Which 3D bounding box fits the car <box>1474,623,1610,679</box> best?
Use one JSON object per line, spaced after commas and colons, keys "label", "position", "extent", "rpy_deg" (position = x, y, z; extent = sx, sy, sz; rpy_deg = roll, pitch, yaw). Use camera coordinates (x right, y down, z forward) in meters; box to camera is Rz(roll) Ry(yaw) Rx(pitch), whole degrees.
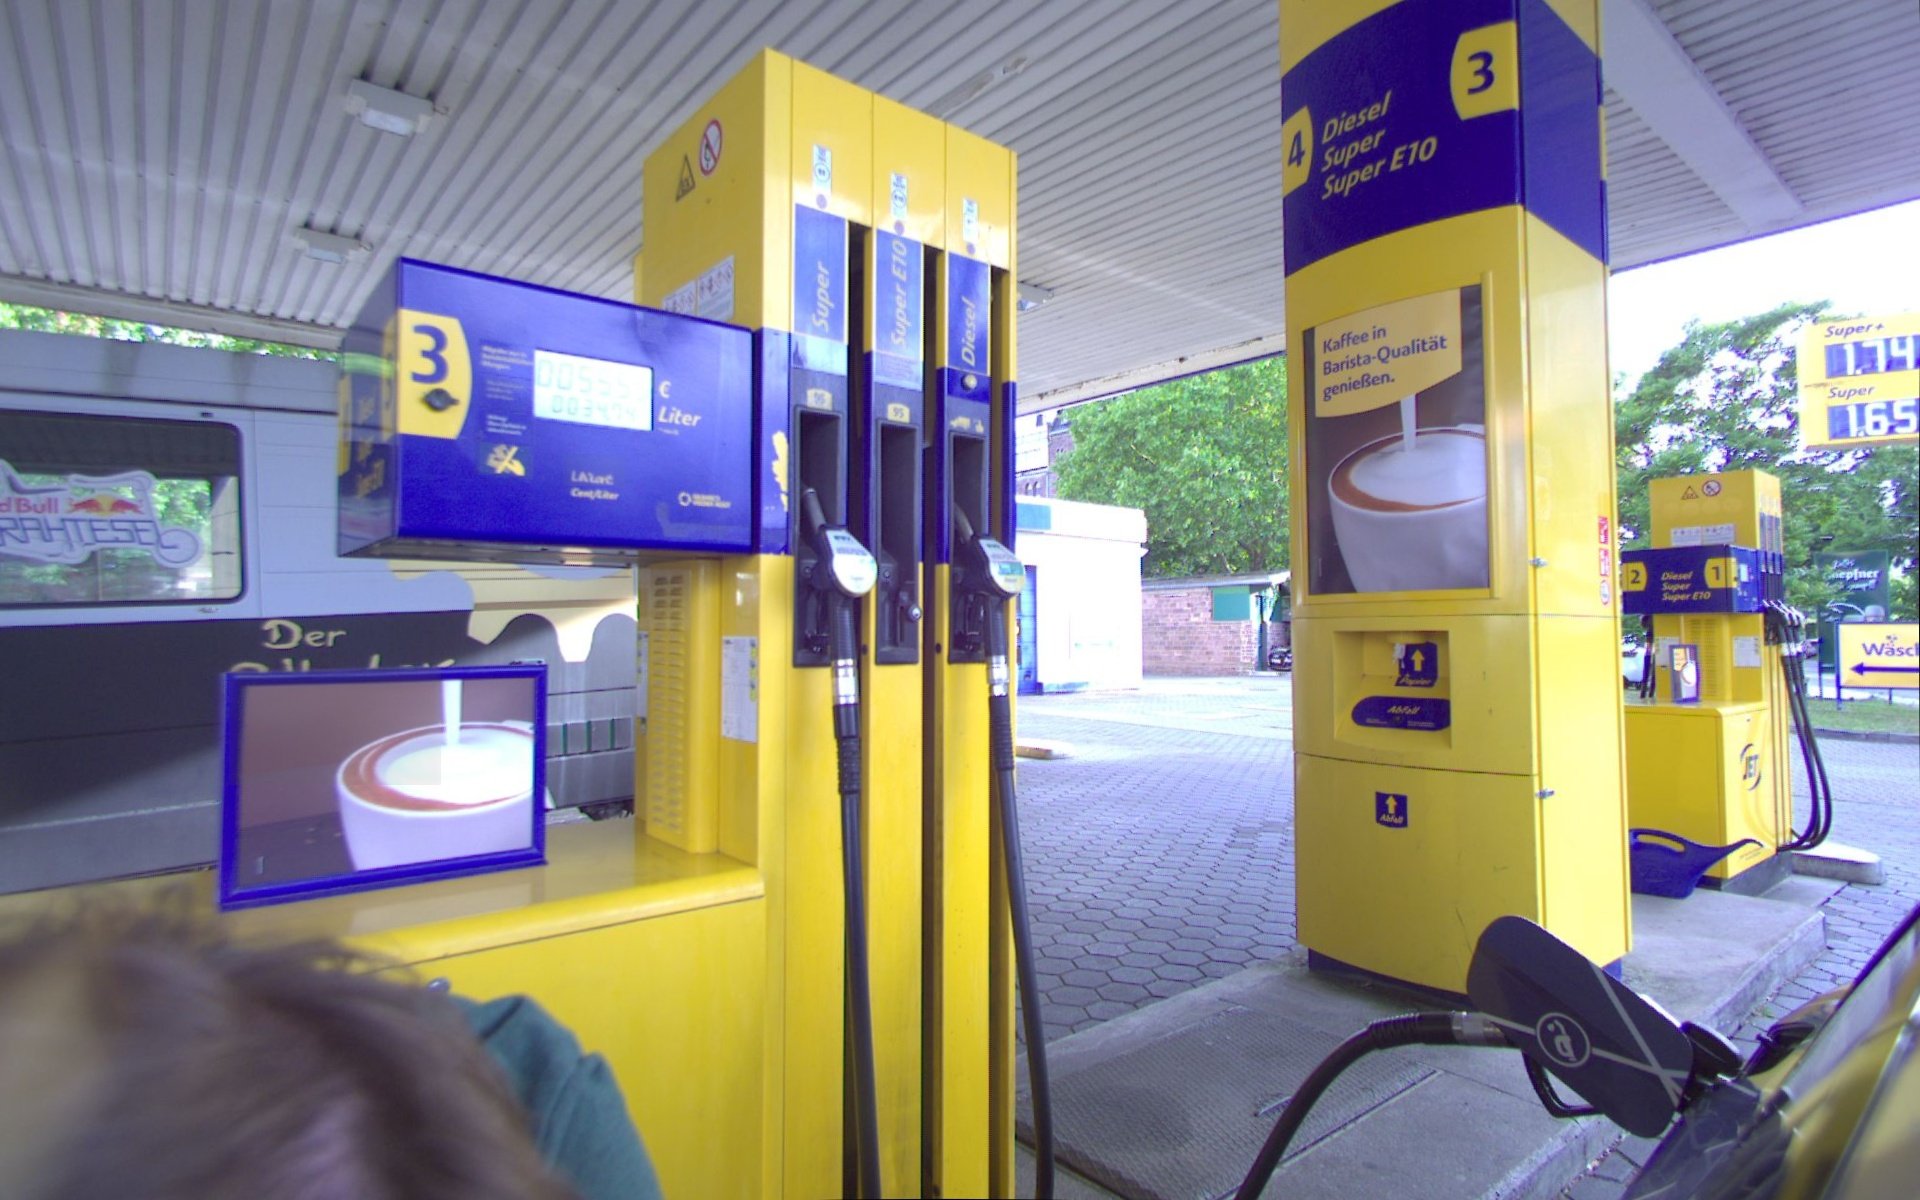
{"label": "car", "position": [17.756, 1.571, 30.854], "extent": [4.112, 1.606, 1.826], "rpy_deg": [2, -3, -31]}

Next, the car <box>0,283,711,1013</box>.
{"label": "car", "position": [-4.113, 0.189, 4.859], "extent": [5.248, 2.760, 2.201], "rpy_deg": [0, -1, -39]}

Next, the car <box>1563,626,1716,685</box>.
{"label": "car", "position": [18.239, 1.481, 27.137], "extent": [4.112, 1.478, 1.826], "rpy_deg": [2, -3, -31]}

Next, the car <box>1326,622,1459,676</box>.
{"label": "car", "position": [13.767, 1.561, 32.172], "extent": [4.112, 1.606, 1.826], "rpy_deg": [2, -3, -31]}

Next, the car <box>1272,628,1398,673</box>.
{"label": "car", "position": [12.628, 1.691, 34.036], "extent": [4.112, 1.453, 1.826], "rpy_deg": [2, -3, -31]}

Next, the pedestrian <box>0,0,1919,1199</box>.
{"label": "pedestrian", "position": [-0.347, 0.524, 0.569], "extent": [0.975, 1.750, 1.182], "rpy_deg": [-2, 1, -36]}
